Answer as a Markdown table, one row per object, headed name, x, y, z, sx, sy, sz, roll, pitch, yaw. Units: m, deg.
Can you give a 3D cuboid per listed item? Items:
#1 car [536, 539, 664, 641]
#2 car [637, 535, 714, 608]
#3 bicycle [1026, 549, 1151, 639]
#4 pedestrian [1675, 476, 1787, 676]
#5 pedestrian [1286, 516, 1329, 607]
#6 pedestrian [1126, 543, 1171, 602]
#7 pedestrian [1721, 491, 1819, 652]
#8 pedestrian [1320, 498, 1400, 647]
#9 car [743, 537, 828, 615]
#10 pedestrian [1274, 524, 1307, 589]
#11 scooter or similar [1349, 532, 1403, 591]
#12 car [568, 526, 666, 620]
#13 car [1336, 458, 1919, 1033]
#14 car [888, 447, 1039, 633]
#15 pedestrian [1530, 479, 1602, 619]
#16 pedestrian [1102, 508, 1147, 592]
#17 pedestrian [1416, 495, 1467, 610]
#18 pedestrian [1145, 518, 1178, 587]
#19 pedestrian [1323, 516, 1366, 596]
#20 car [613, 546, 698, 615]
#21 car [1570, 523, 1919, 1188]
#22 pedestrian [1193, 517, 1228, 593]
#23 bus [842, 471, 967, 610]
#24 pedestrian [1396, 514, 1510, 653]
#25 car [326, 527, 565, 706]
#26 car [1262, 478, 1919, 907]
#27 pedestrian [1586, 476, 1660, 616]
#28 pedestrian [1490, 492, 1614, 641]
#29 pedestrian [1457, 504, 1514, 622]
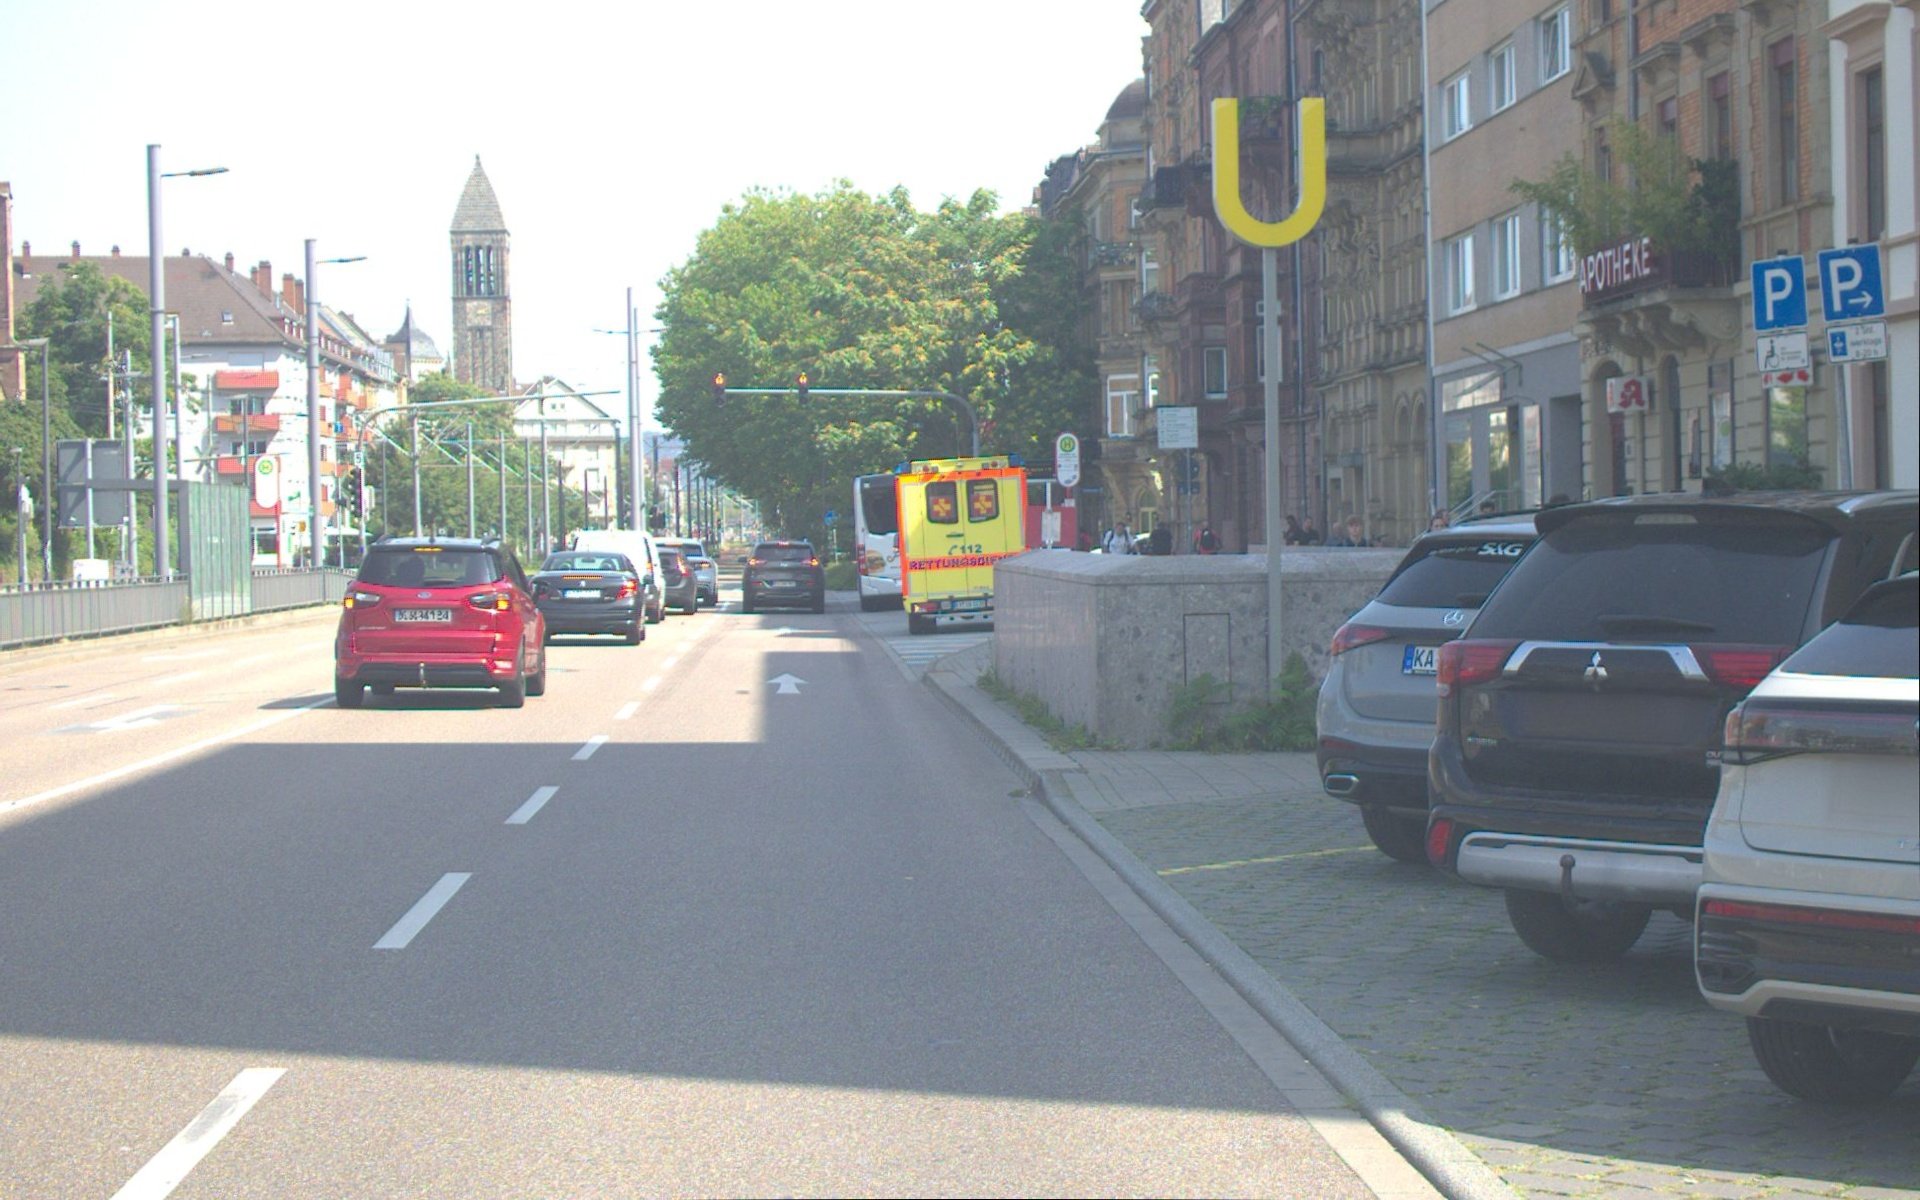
| name | x | y | z | sx | sy | sz | roll | pitch | yaw |
| --- | --- | --- | --- | --- | --- | --- | --- | --- | --- |
| car | -5.409 | -0.179 | 52.003 | 1.790 | 1.426 | 4.001 | -1 | 1 | -4 |
| car | -6.910 | -0.689 | 83.772 | 1.790 | 1.692 | 4.001 | -1 | 0 | -4 |
| bicycle | 1.758 | -0.084 | 46.882 | 1.674 | 1.211 | 0.644 | 0 | 1 | 3 |
| pedestrian | 6.646 | -0.216 | 29.663 | 0.670 | 1.679 | 0.943 | -2 | 1 | -3 |
| pedestrian | 6.527 | -0.725 | 64.589 | 0.643 | 1.679 | 0.789 | -1 | 1 | -3 |
| pedestrian | 5.951 | -0.876 | 108.750 | 1.249 | 1.745 | 1.526 | -1 | 3 | -2 |
| pedestrian | 9.555 | -0.340 | 40.574 | 0.841 | 1.839 | 0.686 | -3 | 1 | -12 |
| pedestrian | 4.846 | -0.342 | 41.703 | 0.850 | 1.723 | 0.971 | -2 | 3 | 4 |
| car | -3.962 | -0.539 | 77.560 | 1.790 | 1.672 | 4.001 | -1 | 0 | -4 |
| pedestrian | 8.179 | -1.073 | 85.083 | 0.622 | 1.587 | 0.696 | -1 | 1 | -8 |
| scooter or similar | 8.536 | -0.797 | 70.507 | 0.512 | 1.192 | 1.304 | -1 | 1 | -22 |
| car | -6.743 | -0.527 | 67.939 | 1.790 | 1.774 | 4.001 | -1 | 0 | -4 |
| car | 3.526 | 0.357 | 12.287 | 4.381 | 1.681 | 1.985 | -2 | 2 | -44 |
| car | 0.099 | -1.021 | 57.421 | 2.299 | 2.878 | 5.599 | -2 | 1 | 1 |
| pedestrian | 7.824 | -0.671 | 44.433 | 0.684 | 1.768 | 1.018 | -1 | 2 | -3 |
| pedestrian | 3.282 | -0.994 | 68.536 | 0.697 | 1.661 | 0.602 | 0 | 1 | 23 |
| pedestrian | 7.483 | -0.735 | 53.416 | 0.577 | 1.744 | 0.679 | -3 | 1 | -3 |
| pedestrian | 4.902 | -1.151 | 83.767 | 0.697 | 1.661 | 1.064 | -1 | 1 | -1 |
| pedestrian | 7.228 | -0.828 | 64.637 | 0.643 | 1.488 | 0.789 | -1 | 1 | -3 |
| car | -6.695 | -0.427 | 75.823 | 1.790 | 1.467 | 4.001 | -1 | 0 | -4 |
| car | 3.523 | 0.580 | 9.140 | 3.775 | 1.495 | 1.806 | 0 | 2 | -43 |
| pedestrian | 5.575 | -1.004 | 76.503 | 0.697 | 1.661 | 0.603 | -1 | 1 | -1 |
| bus | -1.442 | -1.413 | 82.023 | 2.533 | 3.021 | 12.437 | -1 | 1 | -3 |
| pedestrian | 5.716 | -0.197 | 39.867 | 0.850 | 1.576 | 0.971 | -2 | 1 | -36 |
| car | -4.974 | 0.114 | 33.716 | 1.762 | 1.612 | 4.083 | -1 | 1 | -1 |
| car | 3.724 | 0.302 | 16.120 | 4.653 | 1.708 | 2.043 | -2 | 2 | -44 |
| pedestrian | 8.564 | -0.710 | 44.423 | 0.684 | 1.768 | 1.018 | -1 | 2 | -3 |
| pedestrian | 6.390 | -0.361 | 37.105 | 0.850 | 1.576 | 0.971 | -2 | 1 | -36 |
| pedestrian | 8.158 | -0.576 | 53.402 | 0.599 | 1.789 | 0.880 | -3 | 1 | -3 |
